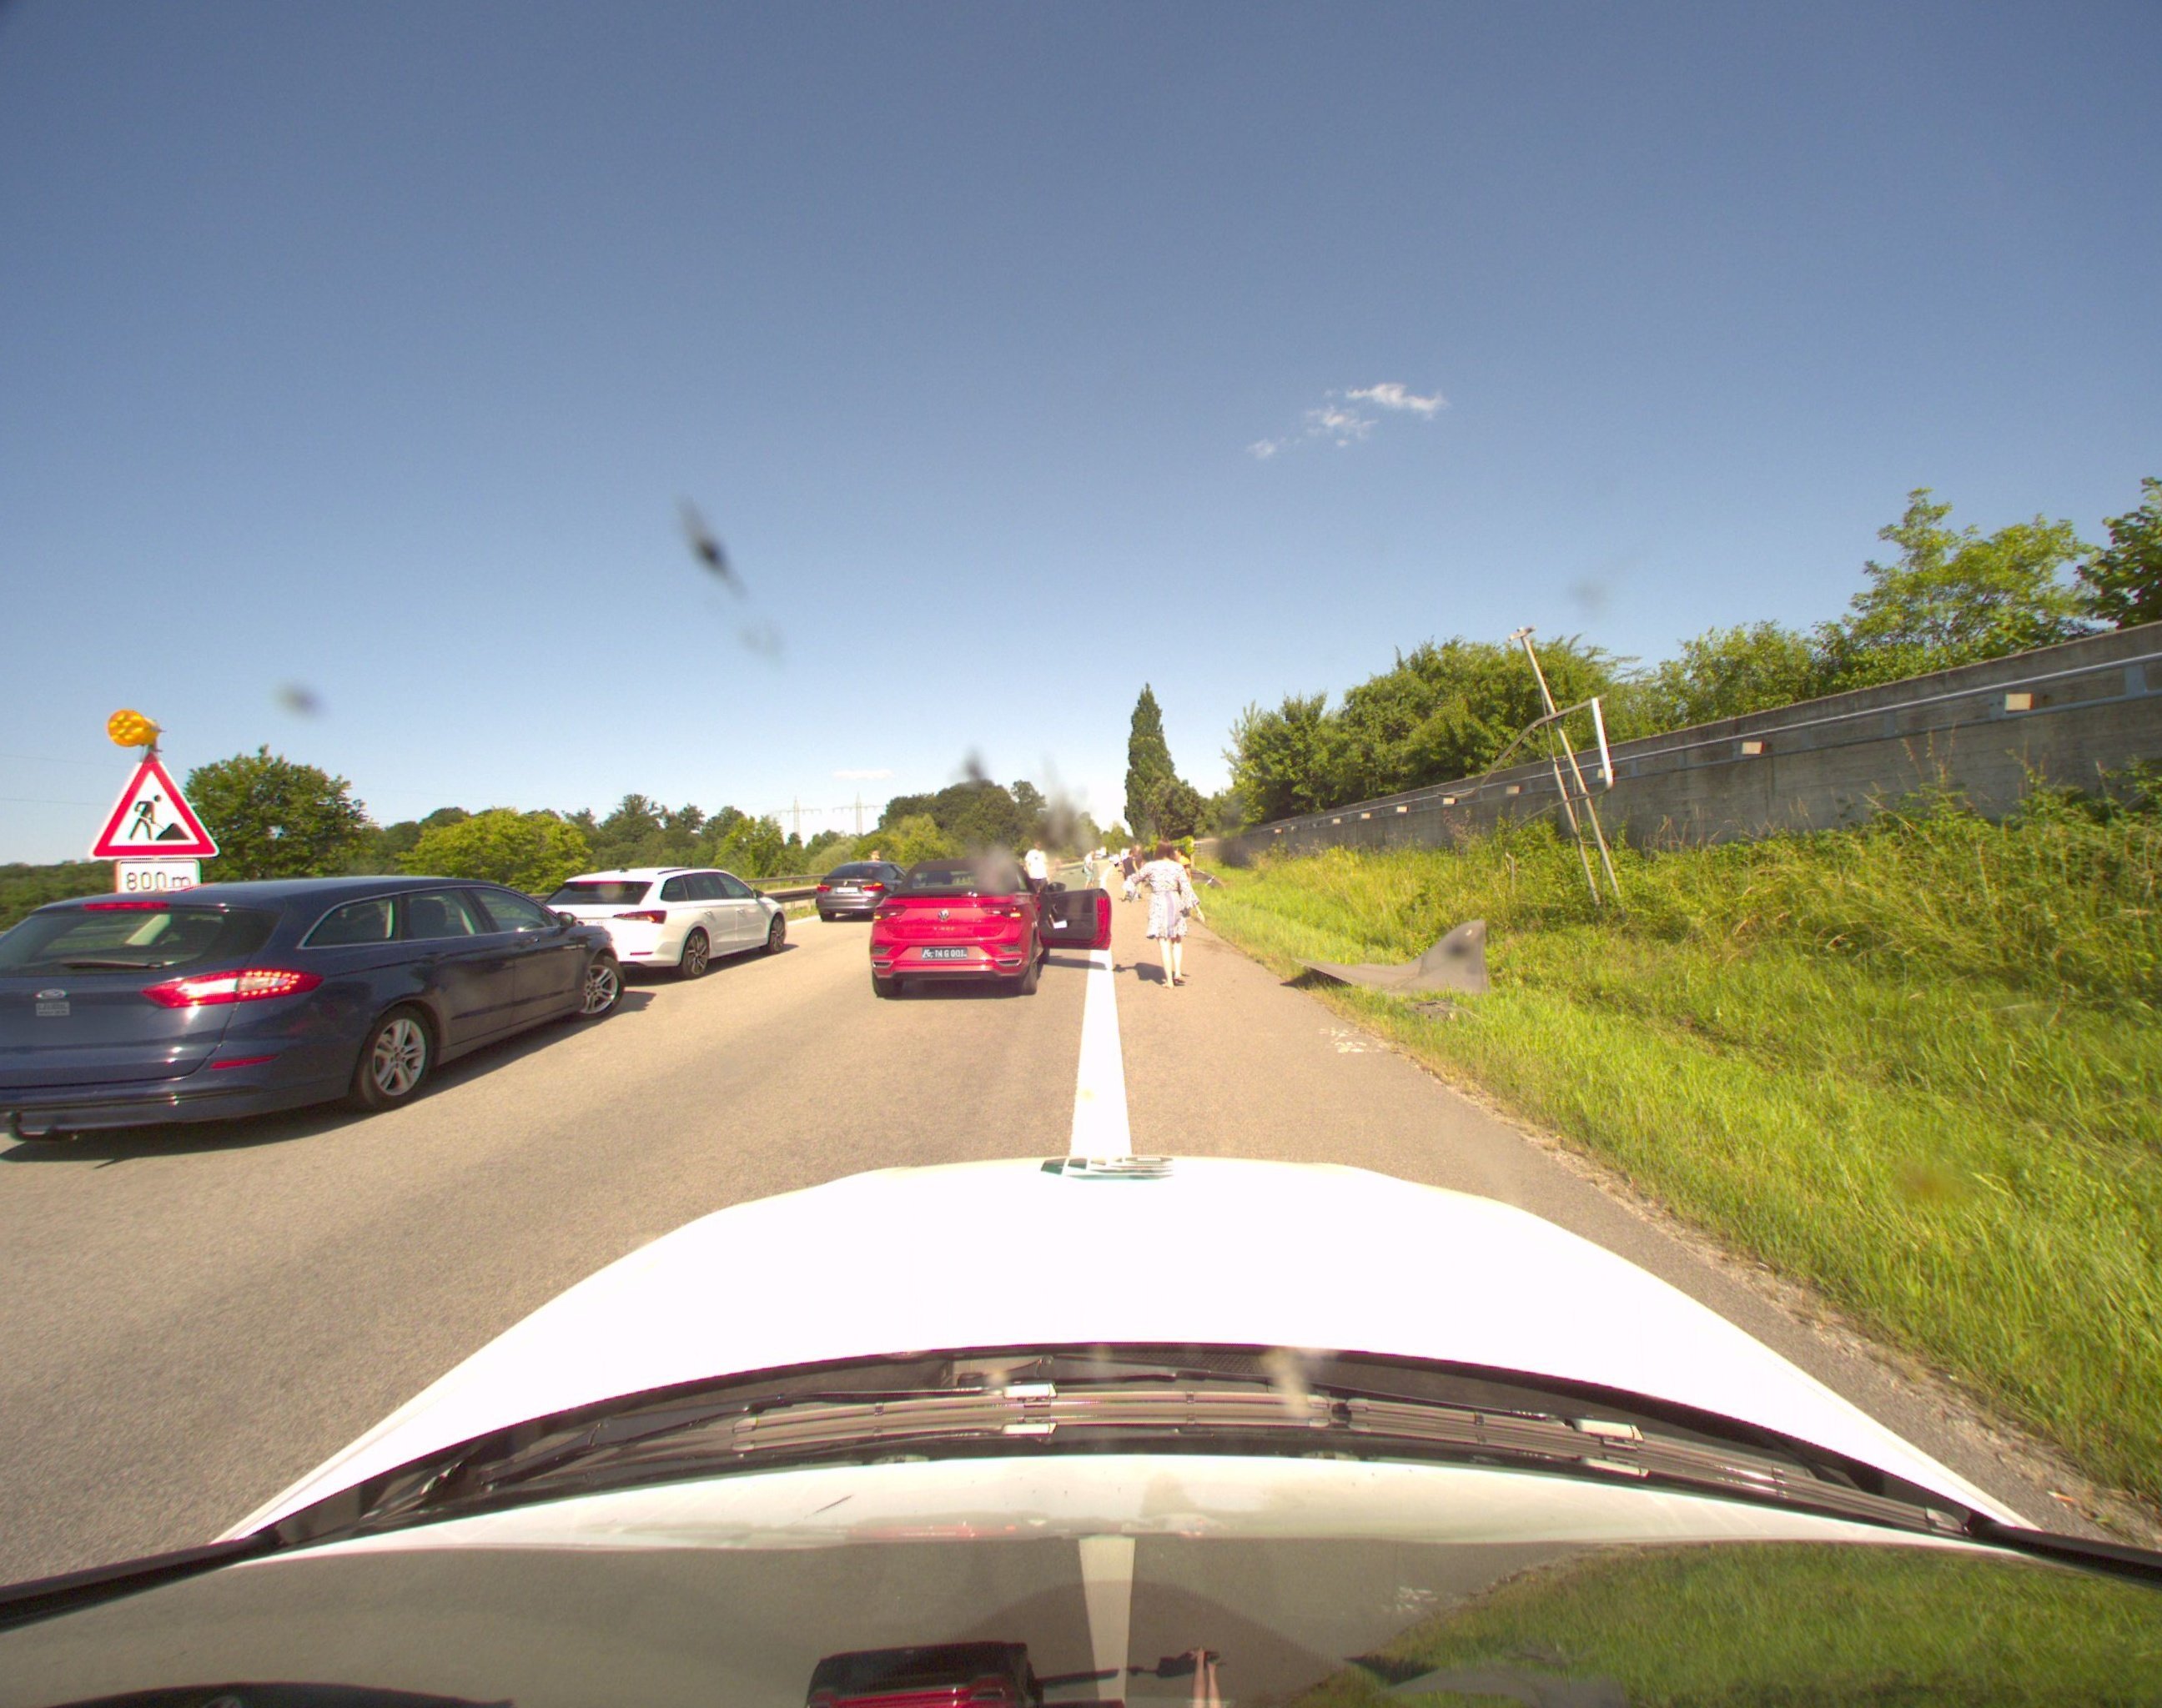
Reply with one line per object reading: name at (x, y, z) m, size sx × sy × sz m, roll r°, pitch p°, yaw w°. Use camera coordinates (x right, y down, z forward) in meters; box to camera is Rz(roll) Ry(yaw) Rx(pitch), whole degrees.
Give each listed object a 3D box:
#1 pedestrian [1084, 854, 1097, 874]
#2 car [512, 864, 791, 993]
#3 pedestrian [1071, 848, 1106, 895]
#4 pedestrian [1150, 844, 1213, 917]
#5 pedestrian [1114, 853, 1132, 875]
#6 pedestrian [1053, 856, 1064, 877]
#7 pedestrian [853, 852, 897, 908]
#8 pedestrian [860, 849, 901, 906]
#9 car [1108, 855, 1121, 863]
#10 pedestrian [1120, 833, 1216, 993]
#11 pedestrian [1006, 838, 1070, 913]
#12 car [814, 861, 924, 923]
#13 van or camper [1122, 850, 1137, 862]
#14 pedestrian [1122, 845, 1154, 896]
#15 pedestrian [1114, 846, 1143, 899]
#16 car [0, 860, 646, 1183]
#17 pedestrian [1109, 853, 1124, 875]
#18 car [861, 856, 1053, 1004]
pedestrian at (0.791, 0.867, 69.299) m, size 1.008 × 1.689 × 1.061 m, roll -1°, pitch -1°, yaw 7°
car at (-5.809, 0.906, 11.699) m, size 1.689 × 1.441 × 4.211 m, roll -1°, pitch 0°, yaw 1°
pedestrian at (0.283, 0.673, 31.415) m, size 1.090 × 1.789 × 1.102 m, roll 0°, pitch -1°, yaw -16°
pedestrian at (2.410, 0.623, 19.657) m, size 1.273 × 1.653 × 0.959 m, roll -2°, pitch 0°, yaw -7°
pedestrian at (3.206, 0.751, 62.427) m, size 1.012 × 1.689 × 0.991 m, roll 0°, pitch -1°, yaw -25°
pedestrian at (-1.883, 1.054, 67.720) m, size 0.787 × 1.689 × 0.793 m, roll -1°, pitch -1°, yaw 6°
pedestrian at (-6.778, 0.831, 26.803) m, size 1.111 × 1.763 × 1.044 m, roll -2°, pitch 0°, yaw 0°
pedestrian at (-6.863, 0.785, 27.925) m, size 1.062 × 1.883 × 1.093 m, roll -2°, pitch 0°, yaw 0°
car at (6.946, 1.028, 169.153) m, size 1.719 × 1.487 × 4.229 m, roll -1°, pitch 0°, yaw 17°
pedestrian at (0.974, 0.640, 9.400) m, size 0.888 × 1.695 × 1.127 m, roll -2°, pitch 0°, yaw -3°
pedestrian at (-1.130, 0.555, 21.561) m, size 1.241 × 1.912 × 1.116 m, roll -2°, pitch 0°, yaw 26°
car at (-5.437, 0.923, 21.458) m, size 1.689 × 1.426 × 4.334 m, roll -1°, pitch 0°, yaw 1°
van or camper at (9.667, 0.323, 162.389) m, size 1.977 × 2.316 × 4.491 m, roll -1°, pitch -1°, yaw 18°
pedestrian at (2.048, 0.587, 29.146) m, size 0.817 × 1.759 × 0.819 m, roll -1°, pitch -1°, yaw 32°
pedestrian at (1.583, 0.612, 27.176) m, size 0.892 × 1.725 × 0.754 m, roll -1°, pitch -1°, yaw 0°
car at (-5.222, 0.837, 6.182) m, size 1.786 × 1.493 × 4.483 m, roll -2°, pitch 0°, yaw -6°
pedestrian at (2.768, 0.745, 62.877) m, size 1.110 × 1.689 × 0.973 m, roll -1°, pitch -1°, yaw 1°
car at (-1.343, 0.786, 10.452) m, size 1.726 × 1.487 × 4.211 m, roll -1°, pitch 0°, yaw 1°
